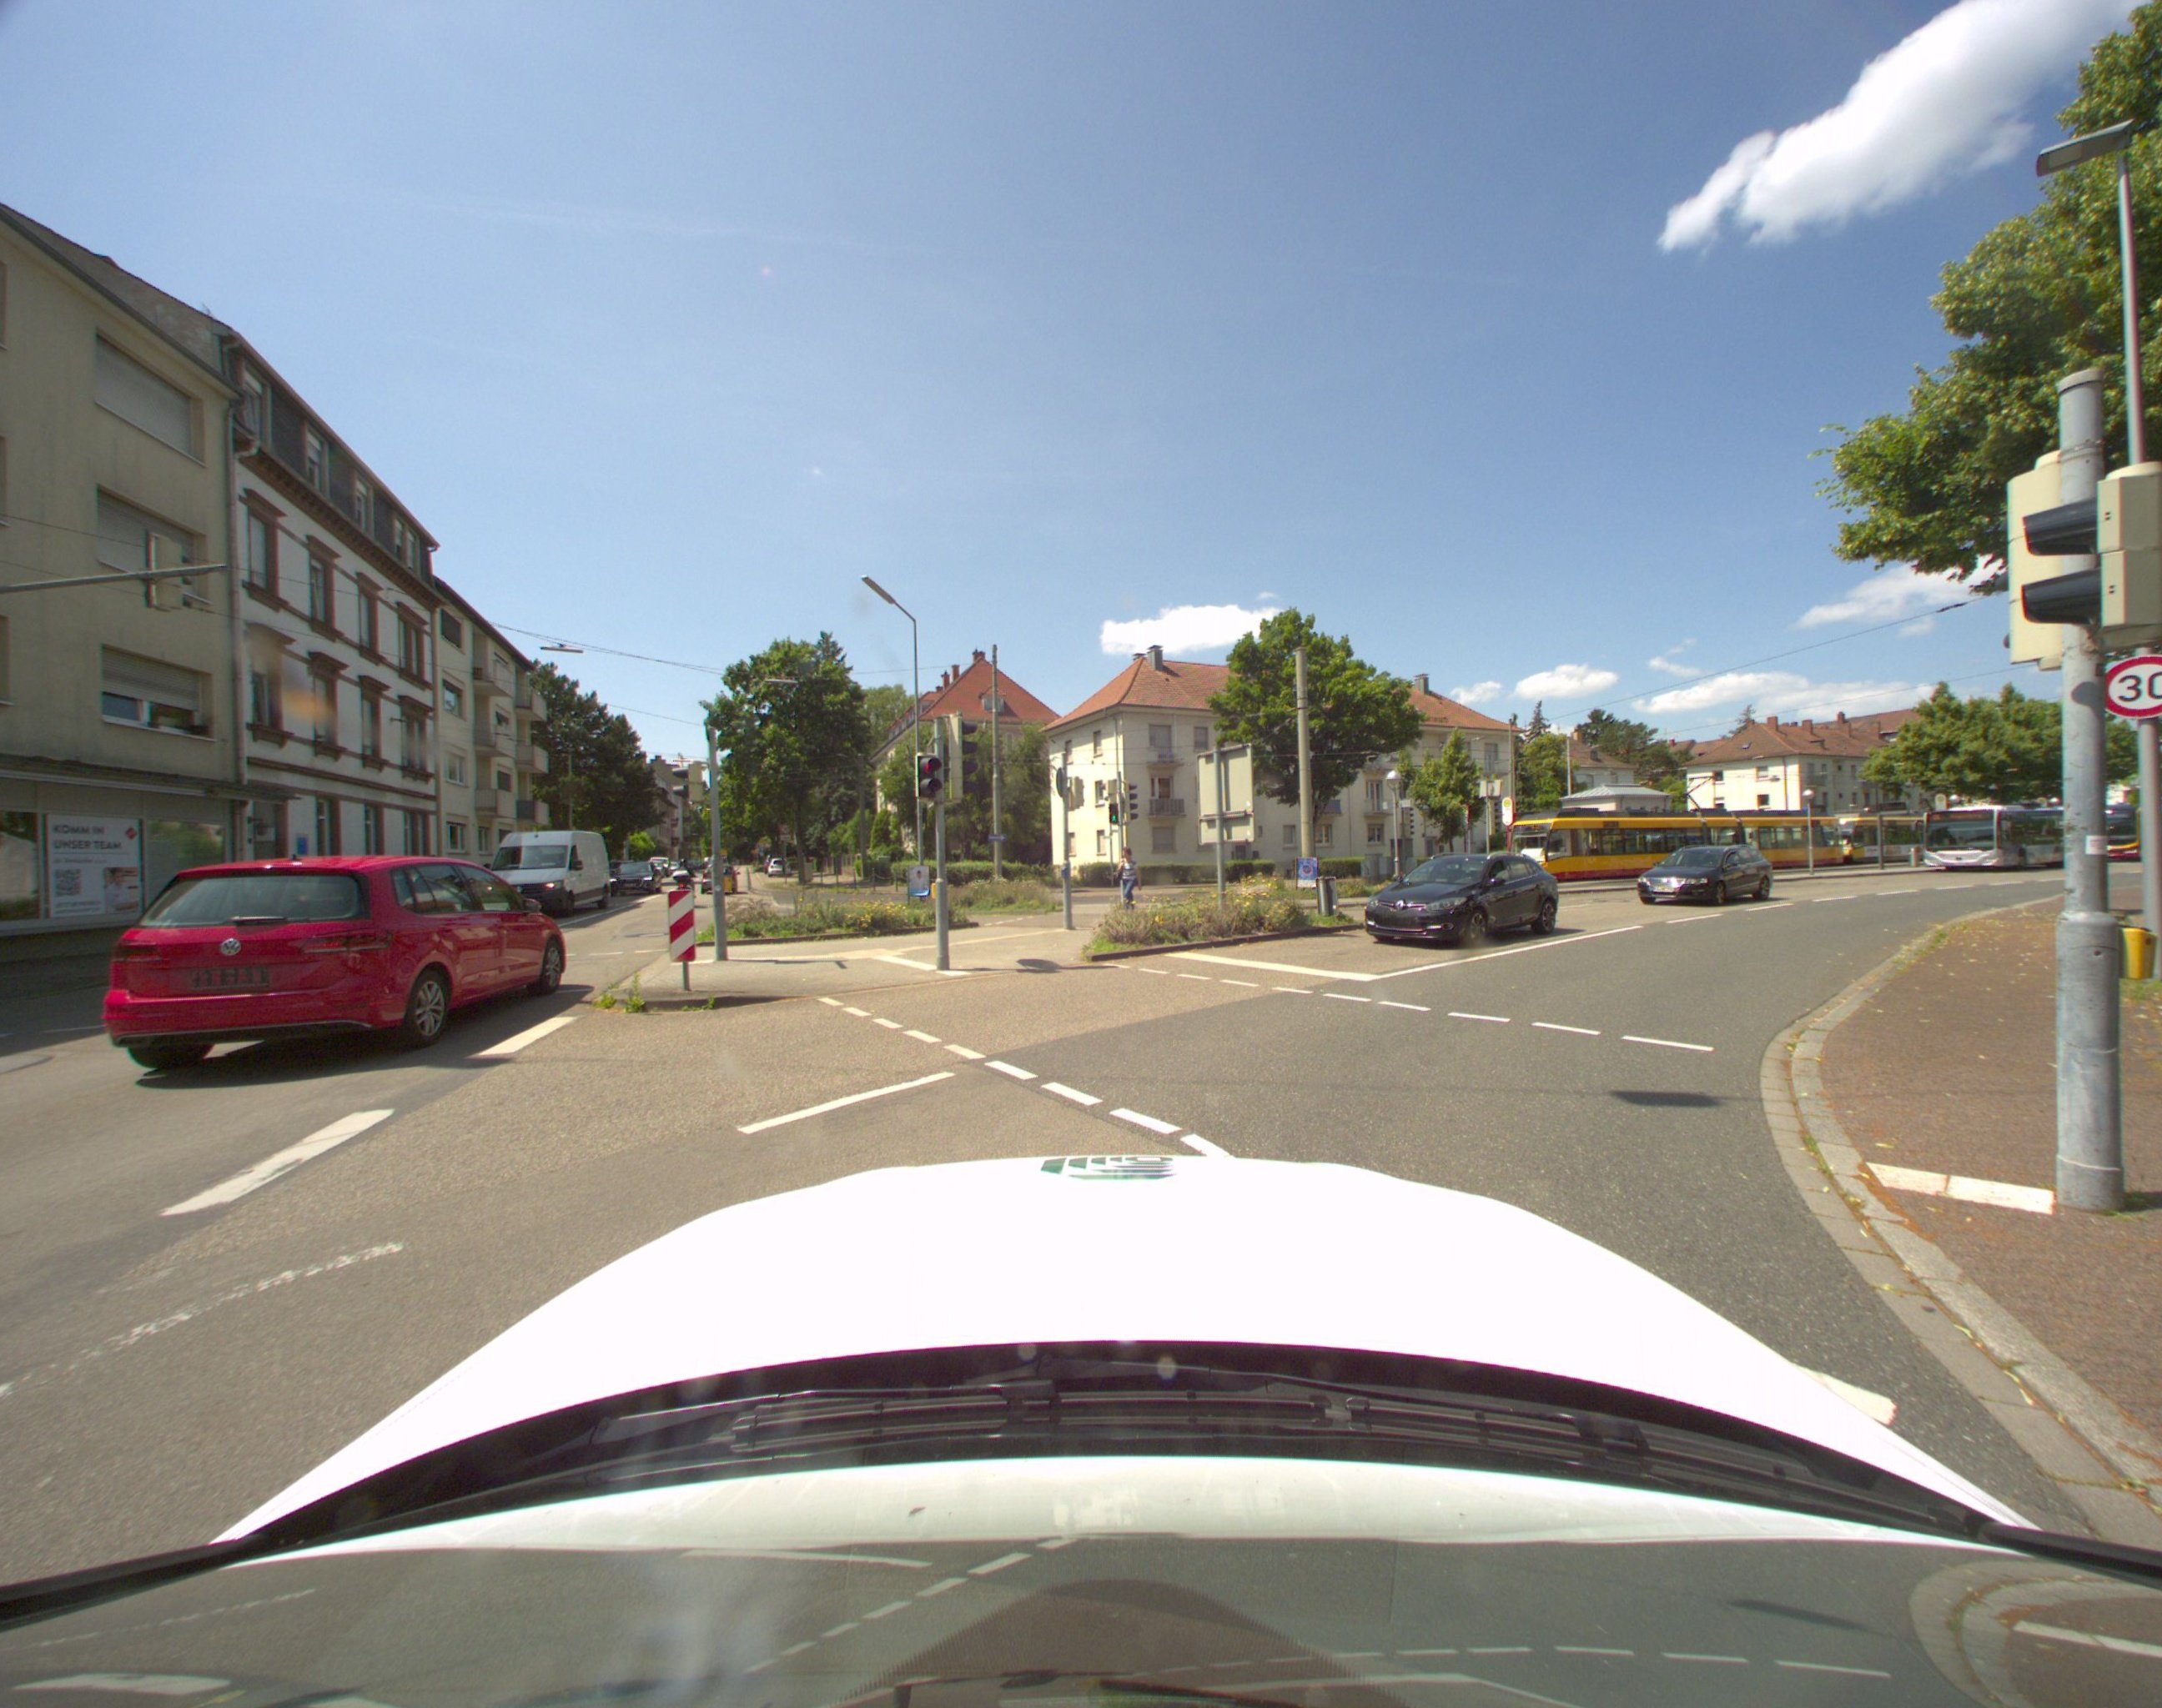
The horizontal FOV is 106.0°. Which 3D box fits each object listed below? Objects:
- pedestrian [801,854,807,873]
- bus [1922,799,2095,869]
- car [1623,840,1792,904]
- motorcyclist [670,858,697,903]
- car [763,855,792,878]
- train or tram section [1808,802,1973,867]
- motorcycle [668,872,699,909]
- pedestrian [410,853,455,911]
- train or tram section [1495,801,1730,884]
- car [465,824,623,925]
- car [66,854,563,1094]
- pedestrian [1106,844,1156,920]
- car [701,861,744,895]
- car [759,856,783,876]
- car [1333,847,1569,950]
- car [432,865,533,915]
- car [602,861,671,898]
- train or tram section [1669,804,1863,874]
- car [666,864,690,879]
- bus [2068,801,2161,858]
[{"bbox_3d":[-24.864,0.857,73.058,0.510,1.656,0.463,0,0,-19],"label":"pedestrian"},{"bbox_3d":[45.959,-0.977,40.215,12.033,3.129,2.715,-1,0,-27],"label":"bus"},{"bbox_3d":[16.815,0.434,21.829,4.524,1.519,1.981,-1,0,-30],"label":"car"},{"bbox_3d":[-13.315,0.877,27.314,0.713,1.445,1.012,-1,0,-21],"label":"motorcyclist"},{"bbox_3d":[-25.251,1.034,67.676,2.003,1.807,3.968,0,0,-24],"label":"car"},{"bbox_3d":[53.445,-1.278,53.540,15.582,3.895,2.770,-1,-1,-27],"label":"train or tram section"},{"bbox_3d":[-13.317,1.210,27.331,0.713,1.134,2.181,-1,0,-21],"label":"motorcycle"},{"bbox_3d":[-22.083,0.935,27.750,0.939,1.931,0.969,-1,-1,-24],"label":"pedestrian"},{"bbox_3d":[26.217,-0.606,39.739,14.209,3.568,2.794,-1,0,-27],"label":"train or tram section"},{"bbox_3d":[-16.153,0.565,25.053,2.224,2.501,7.502,-5,1,-20],"label":"car"},{"bbox_3d":[-6.425,0.805,7.541,1.804,1.558,4.012,0,0,-19],"label":"car"},{"bbox_3d":[1.162,0.637,19.037,0.842,1.705,0.753,-1,-1,-39],"label":"pedestrian"},{"bbox_3d":[-18.062,1.171,41.175,1.806,1.558,4.008,-1,0,-22],"label":"car"},{"bbox_3d":[-30.478,1.193,79.989,2.003,1.906,3.968,0,0,-24],"label":"car"},{"bbox_3d":[6.571,0.659,14.267,4.447,1.500,1.977,-1,0,-39],"label":"car"},{"bbox_3d":[-20.167,1.177,27.632,2.003,1.519,3.967,0,-1,-25],"label":"car"},{"bbox_3d":[-21.060,1.156,38.771,1.856,1.557,4.263,-3,1,-15],"label":"car"},{"bbox_3d":[39.132,-0.887,46.223,14.735,3.568,2.770,-1,0,-27],"label":"train or tram section"},{"bbox_3d":[-46.091,1.992,93.154,1.804,1.558,4.013,2,-1,-18],"label":"car"},{"bbox_3d":[63.365,-1.453,48.823,12.033,3.129,2.715,-1,0,-27],"label":"bus"}]
